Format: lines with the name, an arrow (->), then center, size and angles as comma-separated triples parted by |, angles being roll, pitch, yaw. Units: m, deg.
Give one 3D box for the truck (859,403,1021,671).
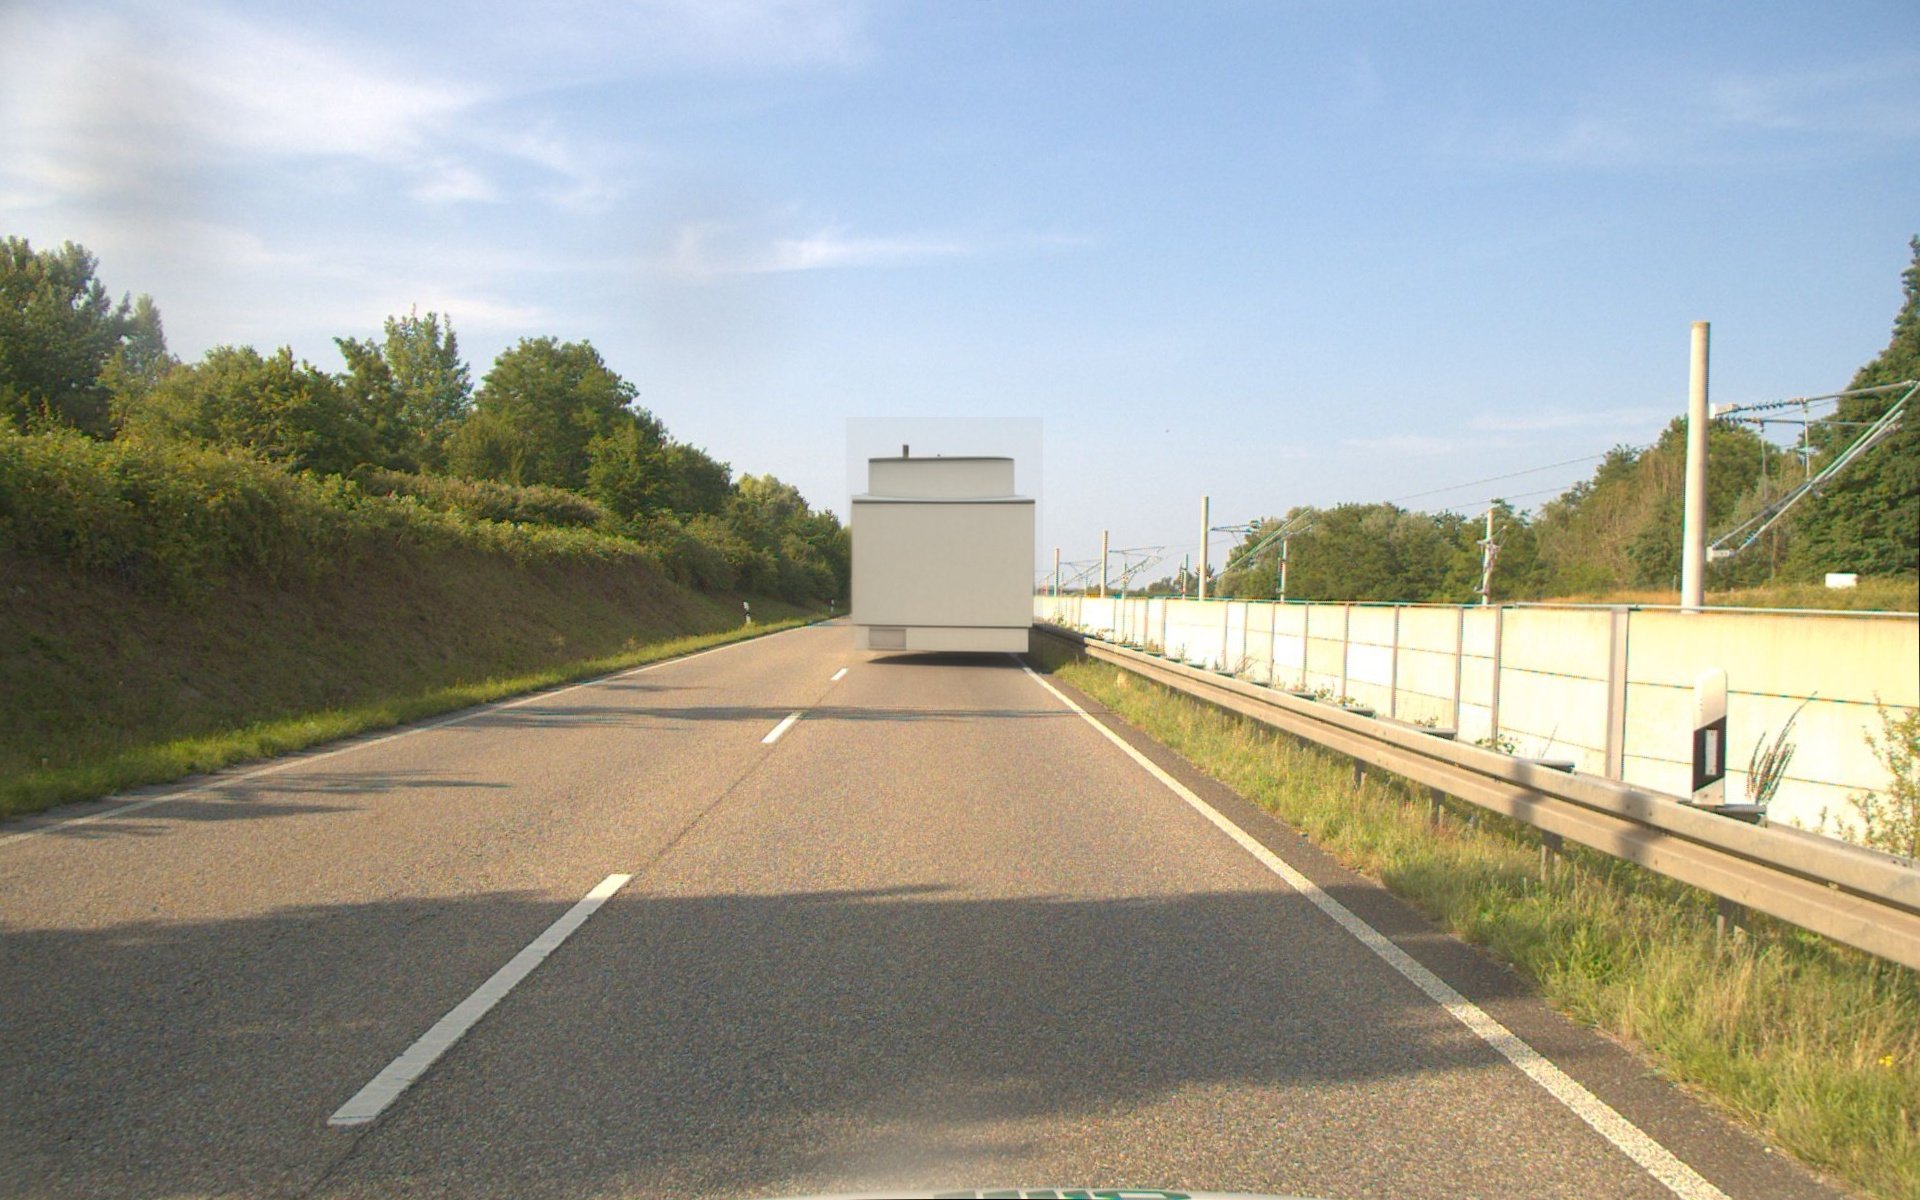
truck -> -0.584, -1.213, 36.953 | 2.972, 5.006, 11.679 | 1, 0, -2
